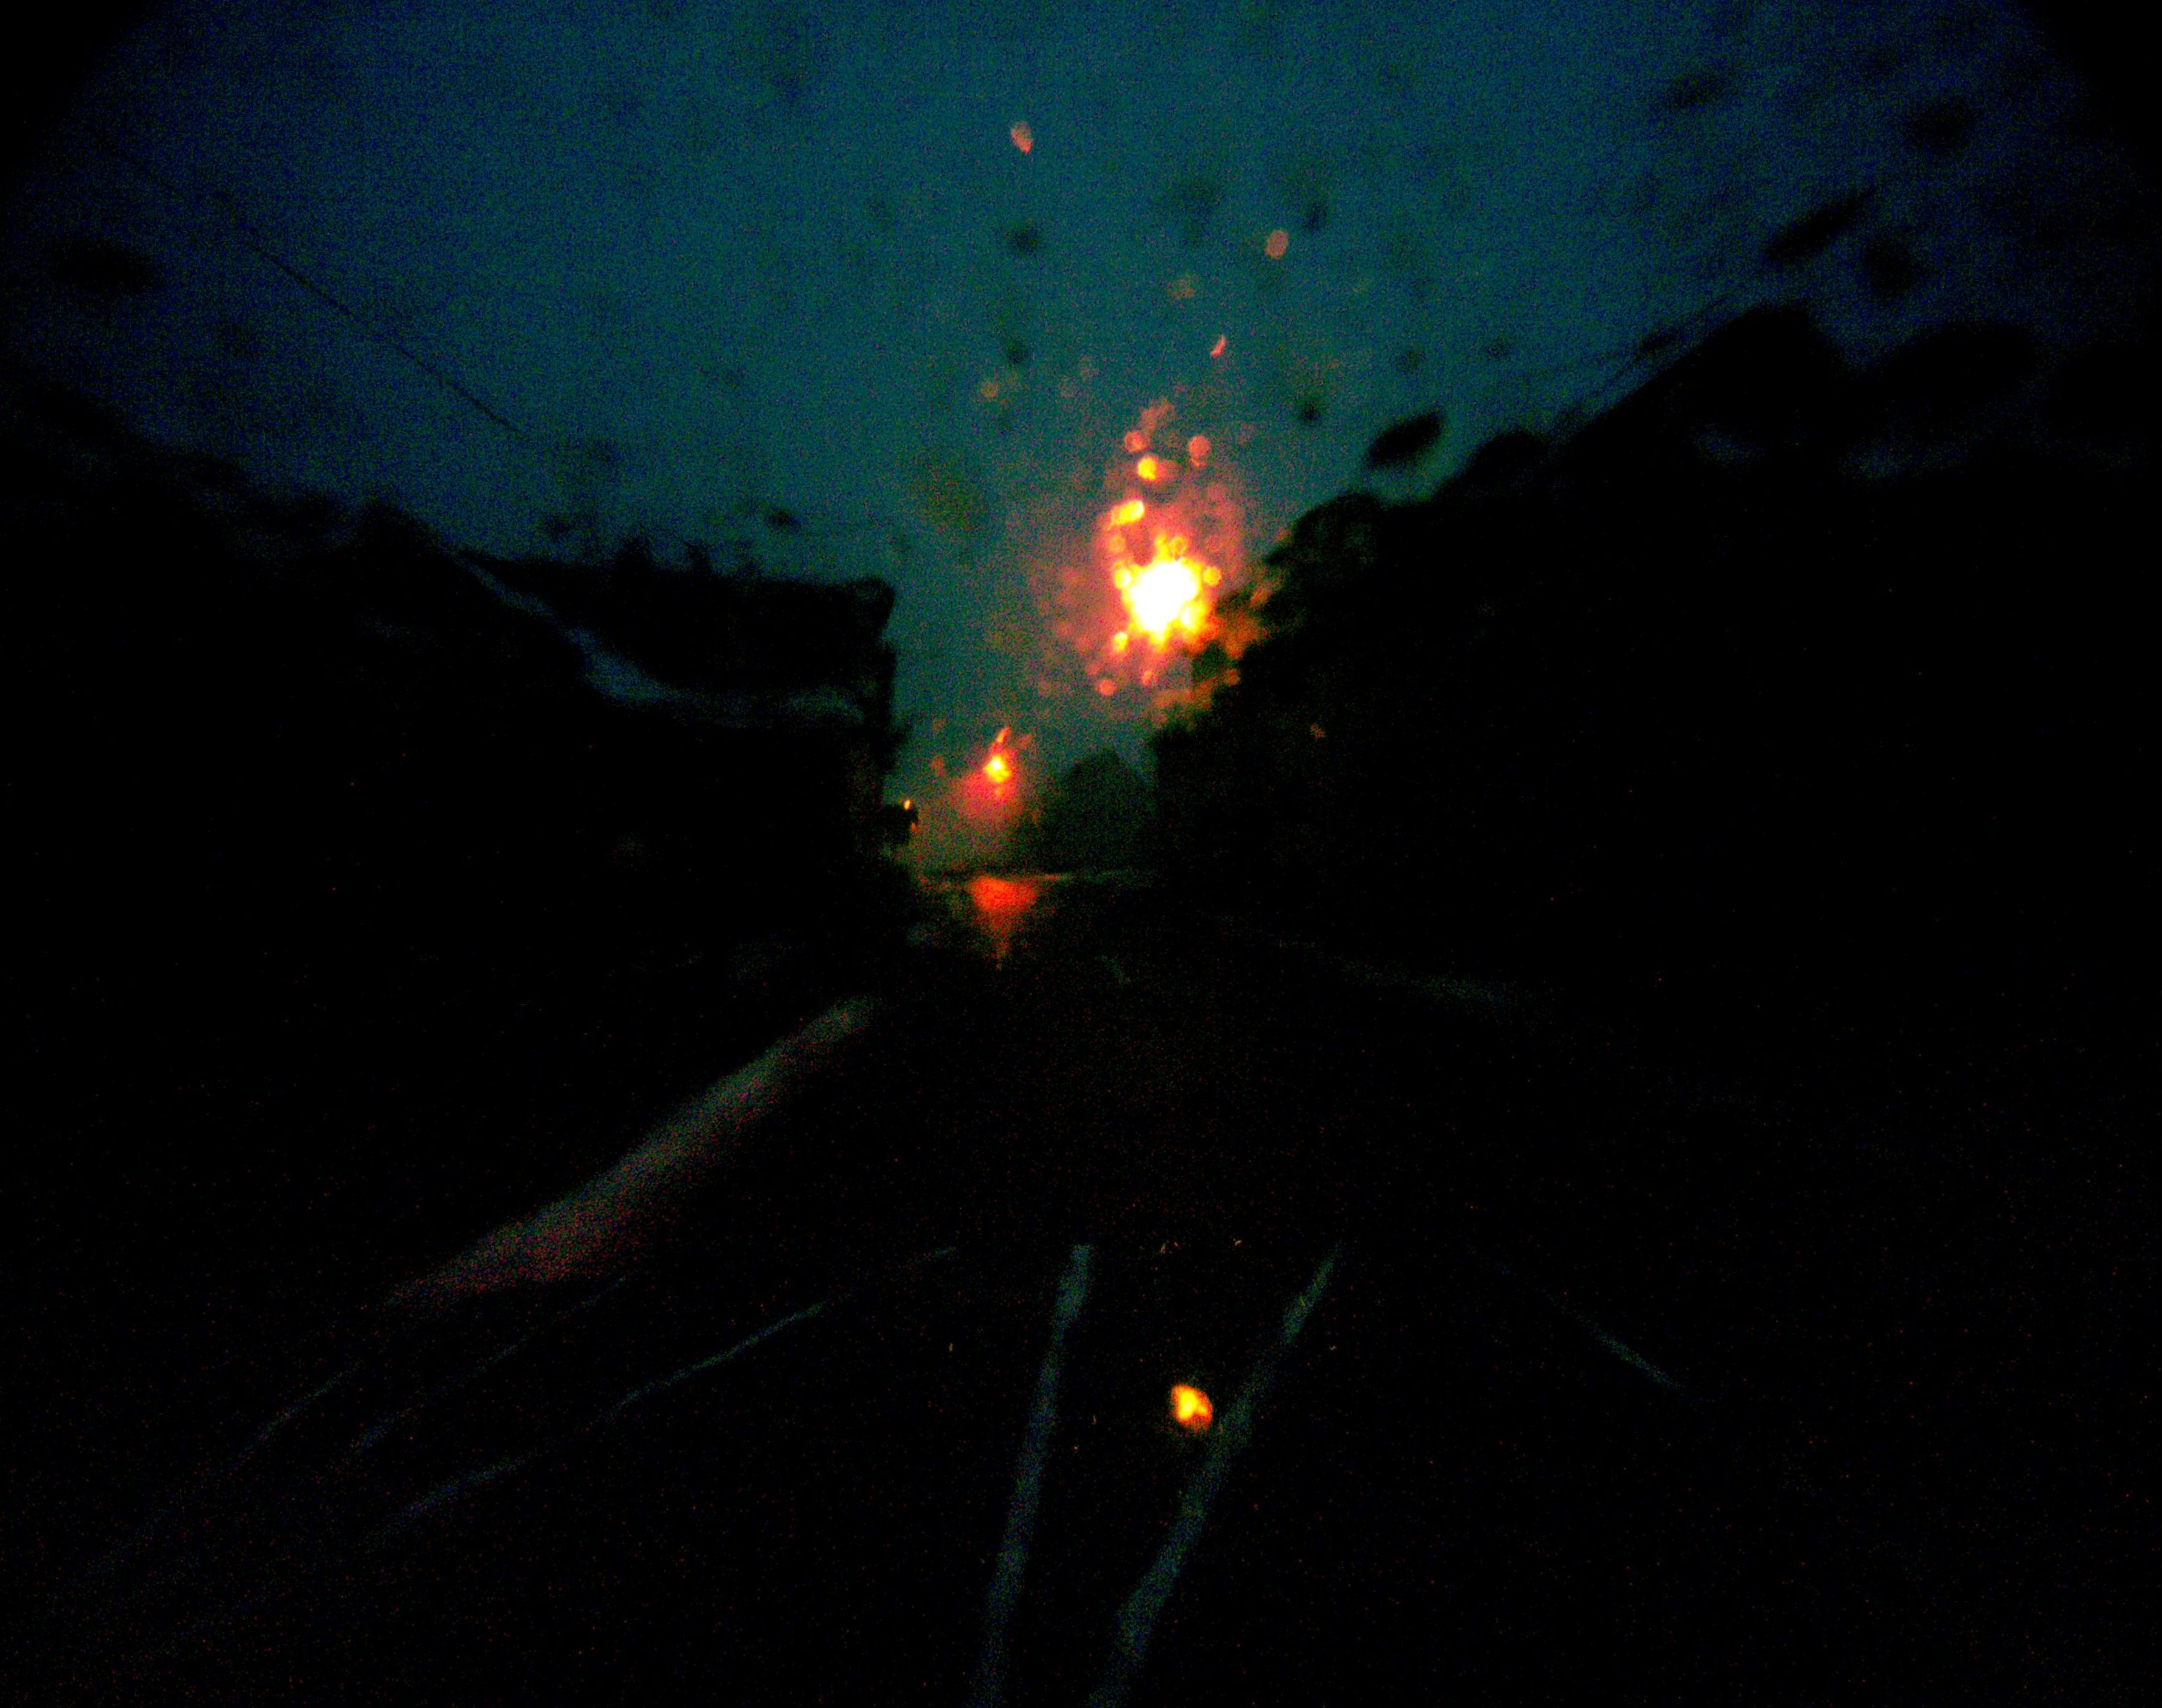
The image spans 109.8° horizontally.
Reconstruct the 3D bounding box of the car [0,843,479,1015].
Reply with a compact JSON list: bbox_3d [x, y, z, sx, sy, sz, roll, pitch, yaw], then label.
[{"bbox_3d":[-9.892,0.736,8.492,4.462,1.578,1.998,-2,1,-10],"label":"car"}]

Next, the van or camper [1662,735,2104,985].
[{"bbox_3d":[10.026,0.061,9.467,5.312,2.434,2.141,0,0,-24],"label":"van or camper"}]
